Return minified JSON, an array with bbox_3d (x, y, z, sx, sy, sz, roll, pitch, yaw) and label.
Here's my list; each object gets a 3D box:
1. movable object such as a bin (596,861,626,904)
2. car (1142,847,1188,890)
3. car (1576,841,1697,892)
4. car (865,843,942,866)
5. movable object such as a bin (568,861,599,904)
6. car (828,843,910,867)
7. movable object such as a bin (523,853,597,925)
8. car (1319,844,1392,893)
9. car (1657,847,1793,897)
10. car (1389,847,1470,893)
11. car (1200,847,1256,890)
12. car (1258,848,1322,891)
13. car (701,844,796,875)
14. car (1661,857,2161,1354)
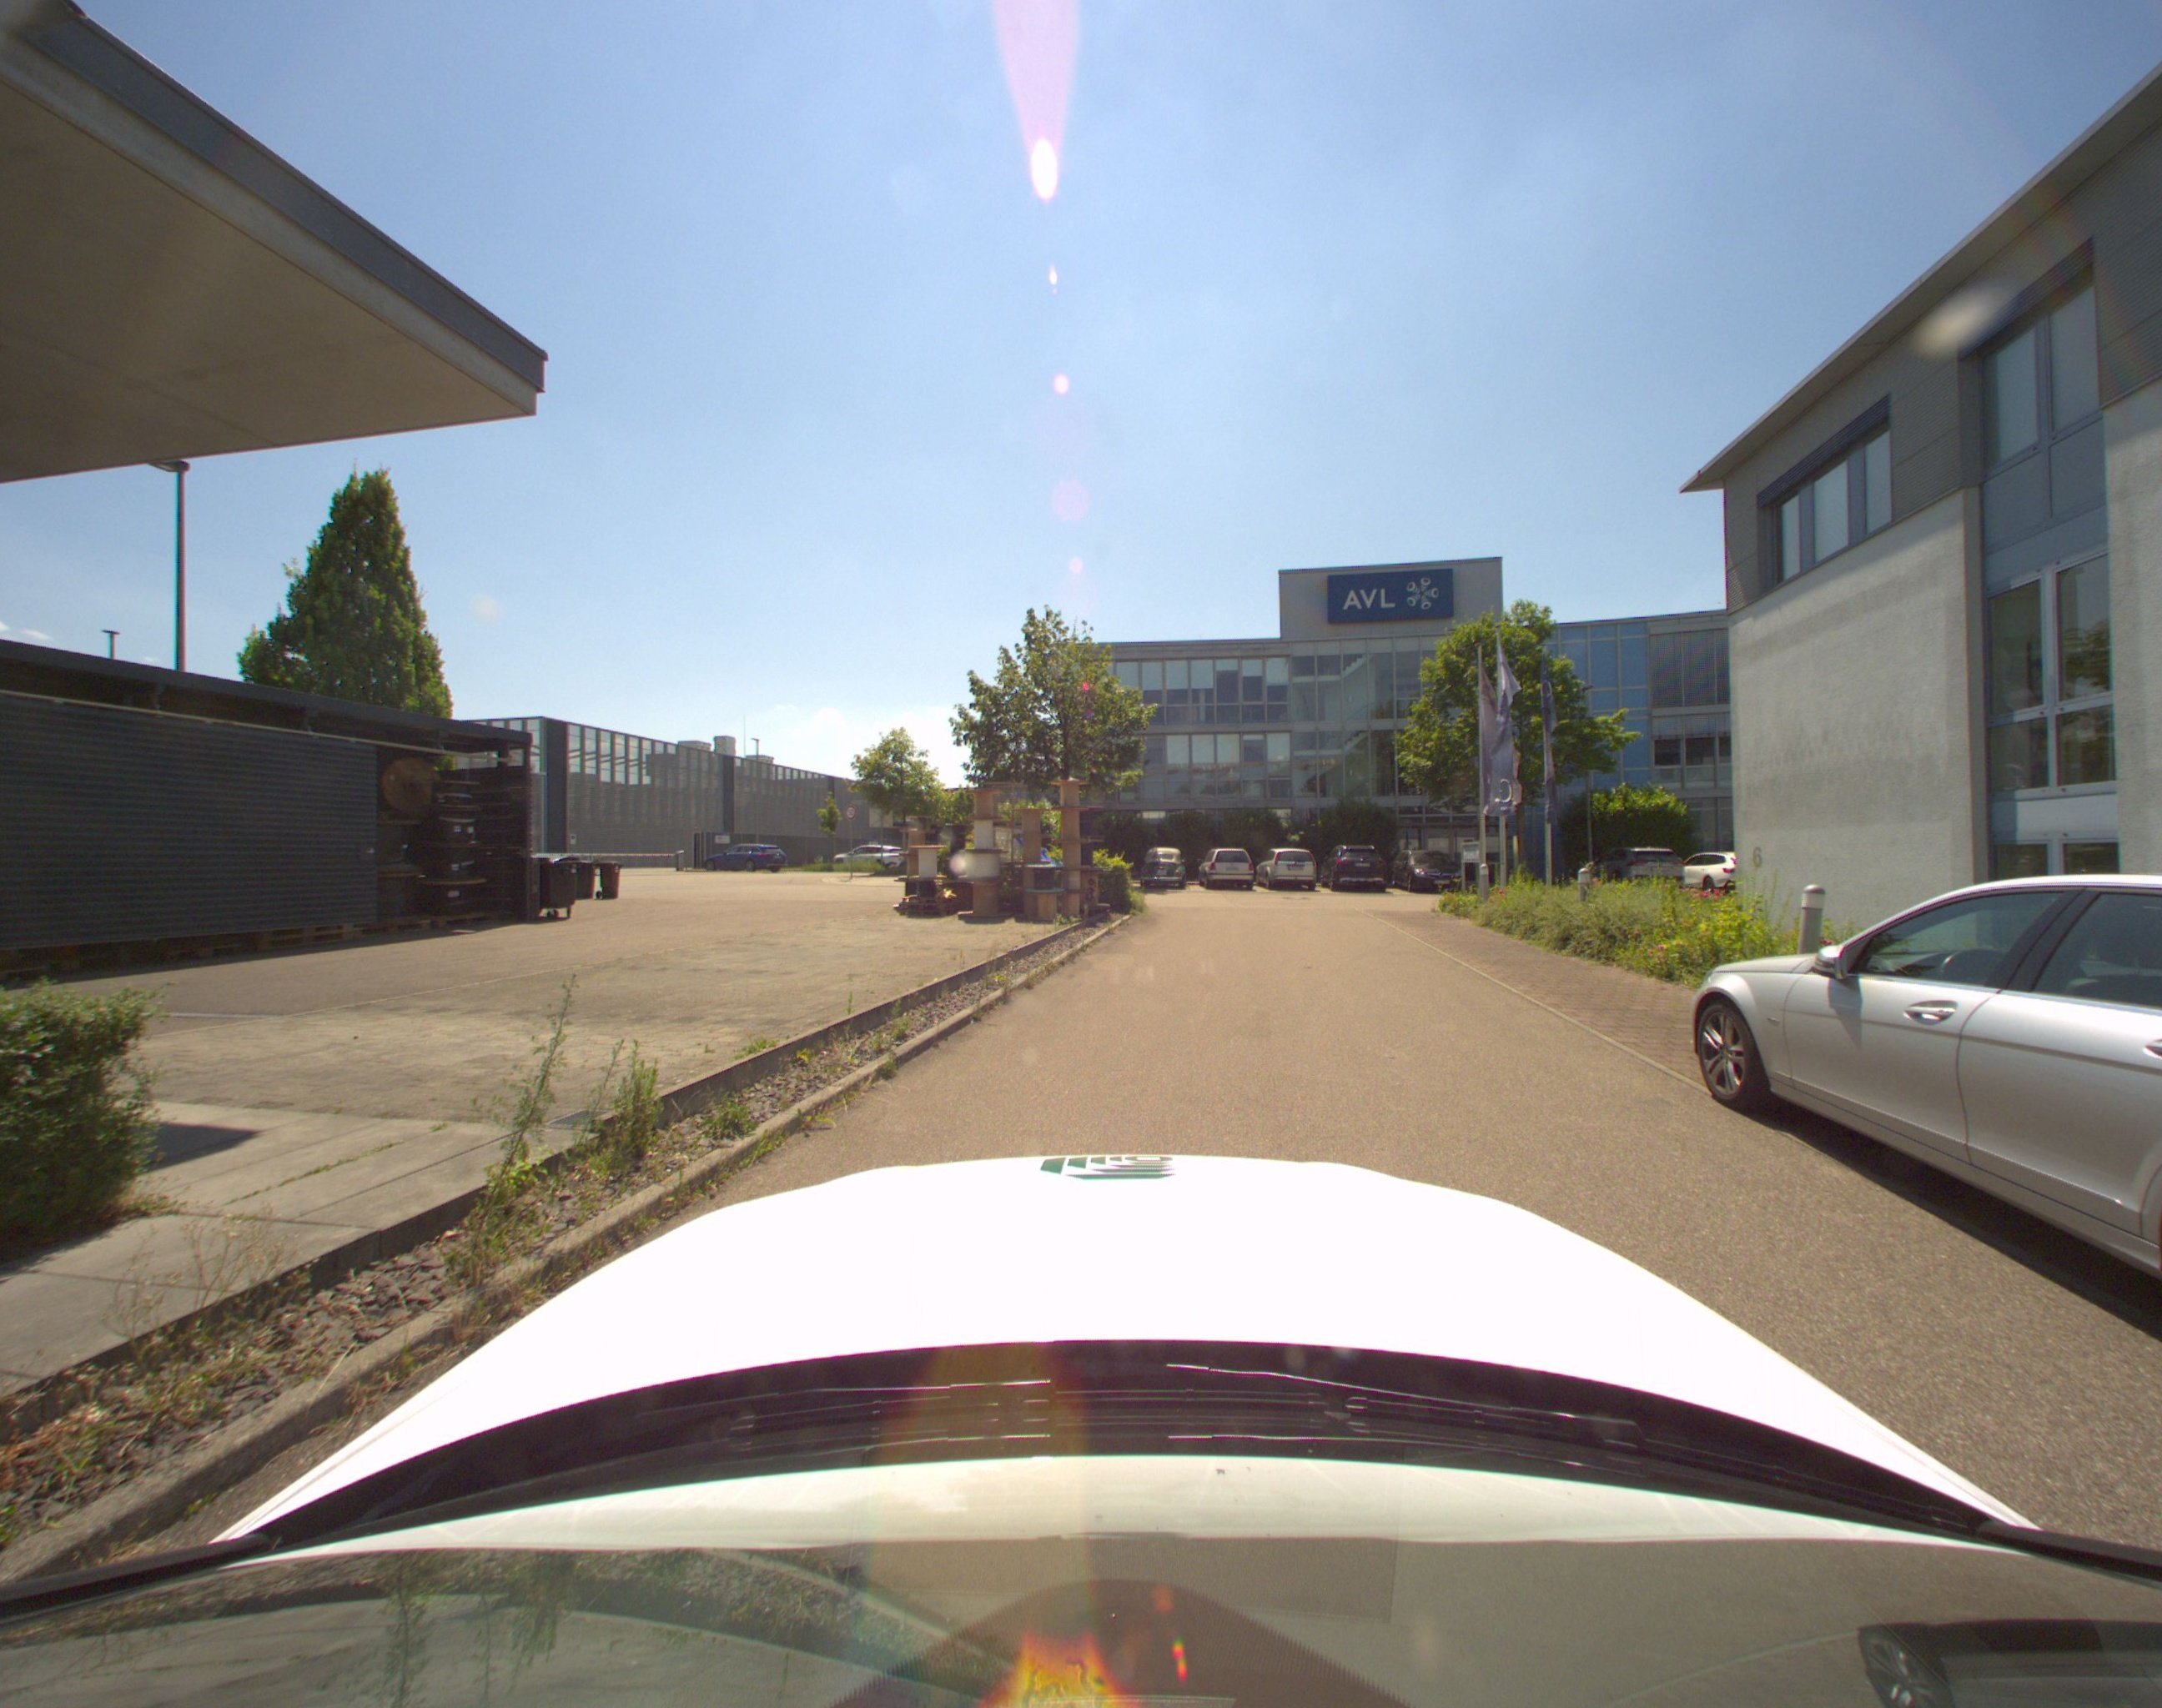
[{"bbox_3d":[-11.738,0.698,20.344,0.579,1.036,0.422,-1,0,-23],"label":"movable object such as a bin"},{"bbox_3d":[3.183,0.483,30.397,1.532,1.448,3.663,0,1,9],"label":"car"},{"bbox_3d":[19.137,0.381,28.304,1.808,1.619,4.351,-1,1,9],"label":"car"},{"bbox_3d":[-11.833,-0.001,54.284,4.795,1.491,2.012,0,1,24],"label":"car"},{"bbox_3d":[-12.291,0.688,20.116,0.582,1.027,0.422,-1,0,-23],"label":"movable object such as a bin"},{"bbox_3d":[-13.467,0.038,51.648,4.795,1.491,2.012,0,1,24],"label":"car"},{"bbox_3d":[-10.103,0.657,15.824,0.804,1.344,0.888,-1,0,16],"label":"movable object such as a bin"},{"bbox_3d":[9.922,0.460,29.729,1.915,1.610,3.997,0,1,9],"label":"car"},{"bbox_3d":[21.611,0.551,27.565,1.725,1.491,4.351,1,1,9],"label":"car"},{"bbox_3d":[12.539,0.515,29.547,1.759,1.482,4.270,-1,1,9],"label":"car"},{"bbox_3d":[5.393,0.495,30.281,1.723,1.448,3.660,0,1,5],"label":"car"},{"bbox_3d":[7.699,0.511,30.314,1.756,1.448,3.660,0,1,5],"label":"car"},{"bbox_3d":[-17.349,0.256,42.482,4.459,1.491,2.012,0,1,24],"label":"car"},{"bbox_3d":[4.203,0.727,3.074,1.786,1.398,4.436,-1,0,14],"label":"car"}]
